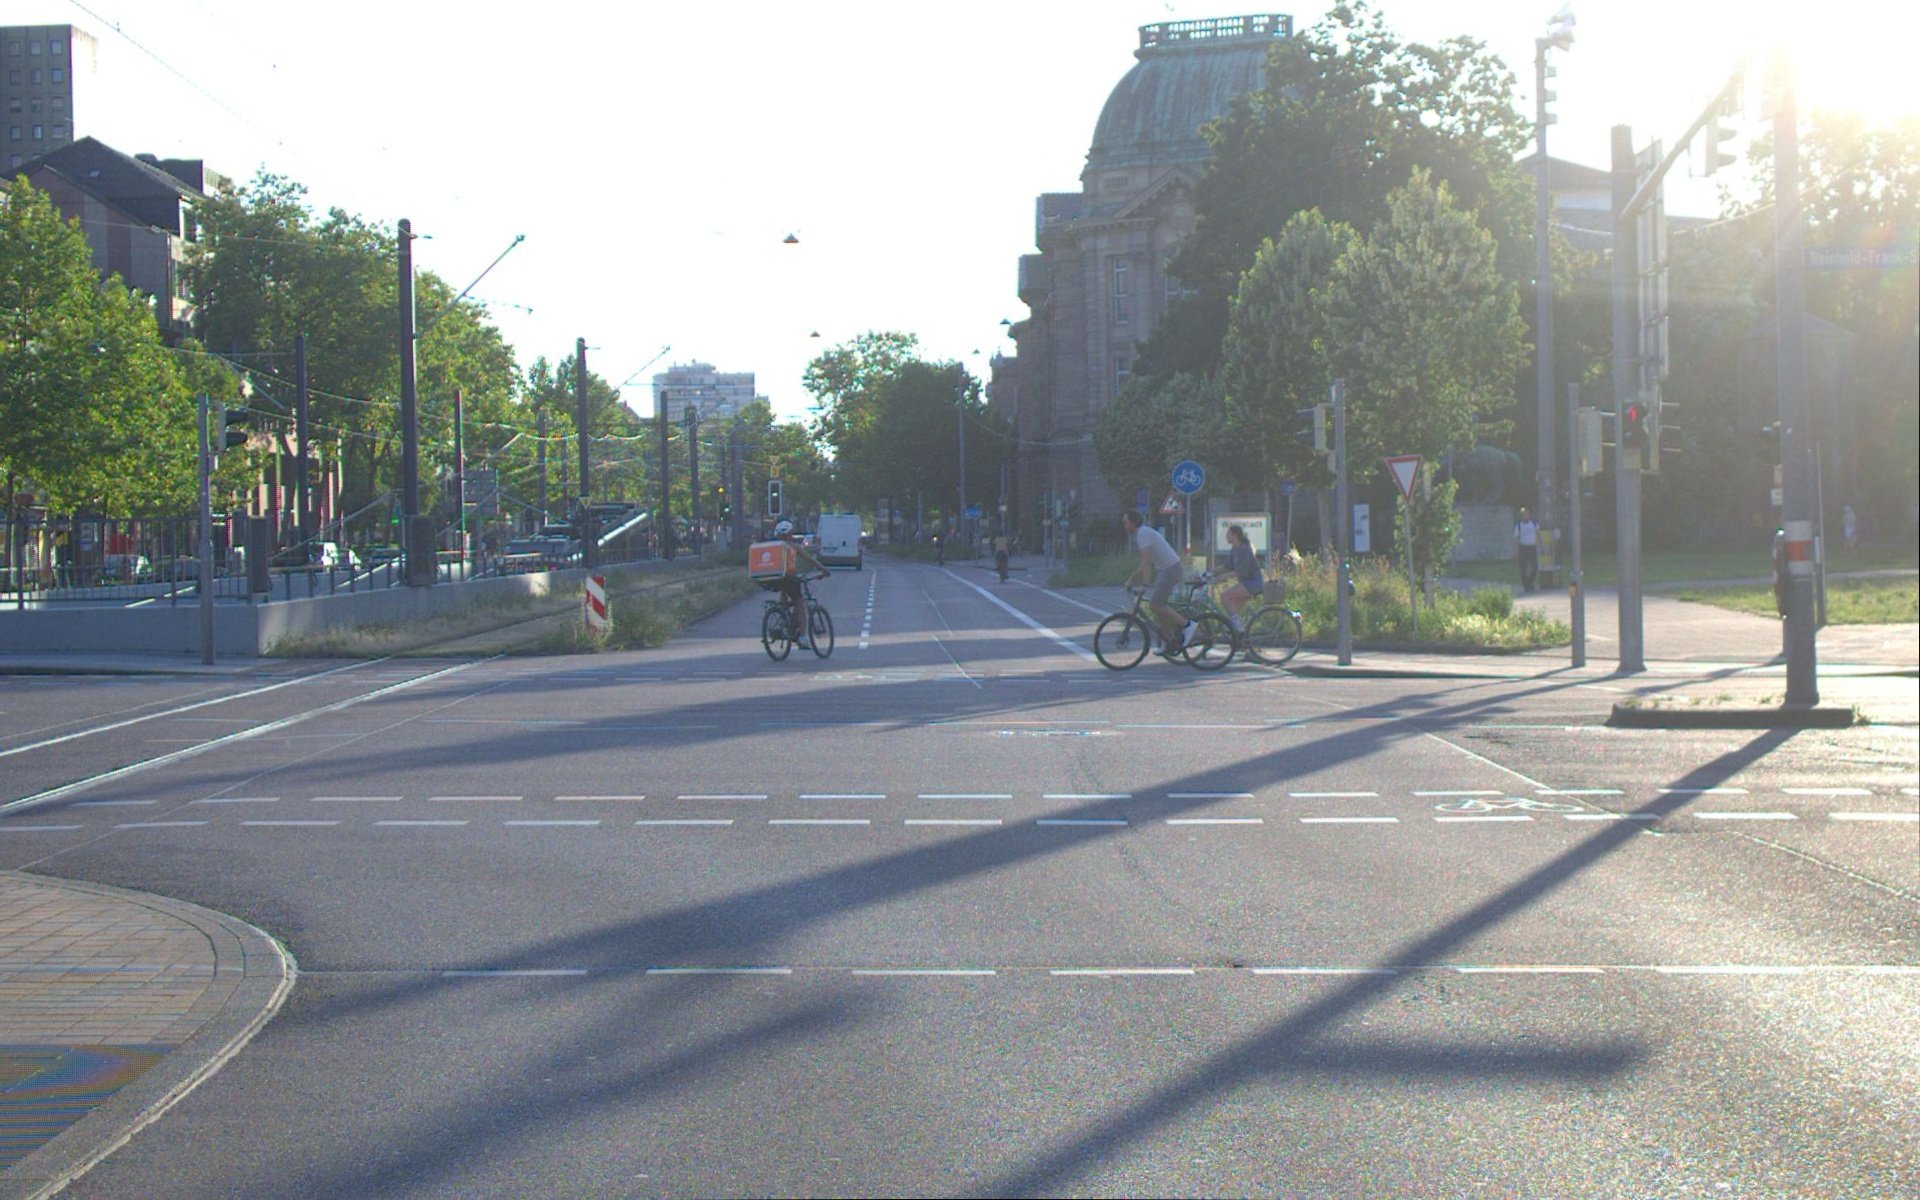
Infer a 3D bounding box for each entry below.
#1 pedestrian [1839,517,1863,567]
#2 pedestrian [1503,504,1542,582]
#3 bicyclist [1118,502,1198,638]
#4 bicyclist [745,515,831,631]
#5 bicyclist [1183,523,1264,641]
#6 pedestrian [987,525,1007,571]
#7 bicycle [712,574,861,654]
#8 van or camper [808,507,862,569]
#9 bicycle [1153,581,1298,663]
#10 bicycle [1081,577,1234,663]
[{"bbox_3d":[30.849,-2.012,119.025,0.798,1.696,0.800,0,1,14],"label":"pedestrian"},{"bbox_3d":[11.749,-1.190,71.768,0.682,1.605,0.613,-1,2,-1],"label":"pedestrian"},{"bbox_3d":[2.345,-0.362,40.788,0.797,1.566,0.663,-2,2,-9],"label":"bicyclist"},{"bbox_3d":[-2.173,-0.345,43.453,0.853,1.437,0.663,0,2,-32],"label":"bicyclist"},{"bbox_3d":[3.302,-0.234,43.113,0.853,1.437,0.663,-2,2,-9],"label":"bicyclist"},{"bbox_3d":[1.223,-1.719,113.180,0.616,1.470,0.800,-1,2,3],"label":"pedestrian"},{"bbox_3d":[-2.193,0.175,43.460,1.728,0.966,0.704,0,3,-33],"label":"bicycle"},{"bbox_3d":[-5.665,-2.833,156.009,2.263,2.616,4.503,-1,2,0],"label":"van or camper"},{"bbox_3d":[3.329,0.271,43.131,1.718,0.966,0.610,-1,2,-9],"label":"bicycle"},{"bbox_3d":[2.343,0.231,40.810,1.728,0.966,0.610,-1,2,-9],"label":"bicycle"}]
